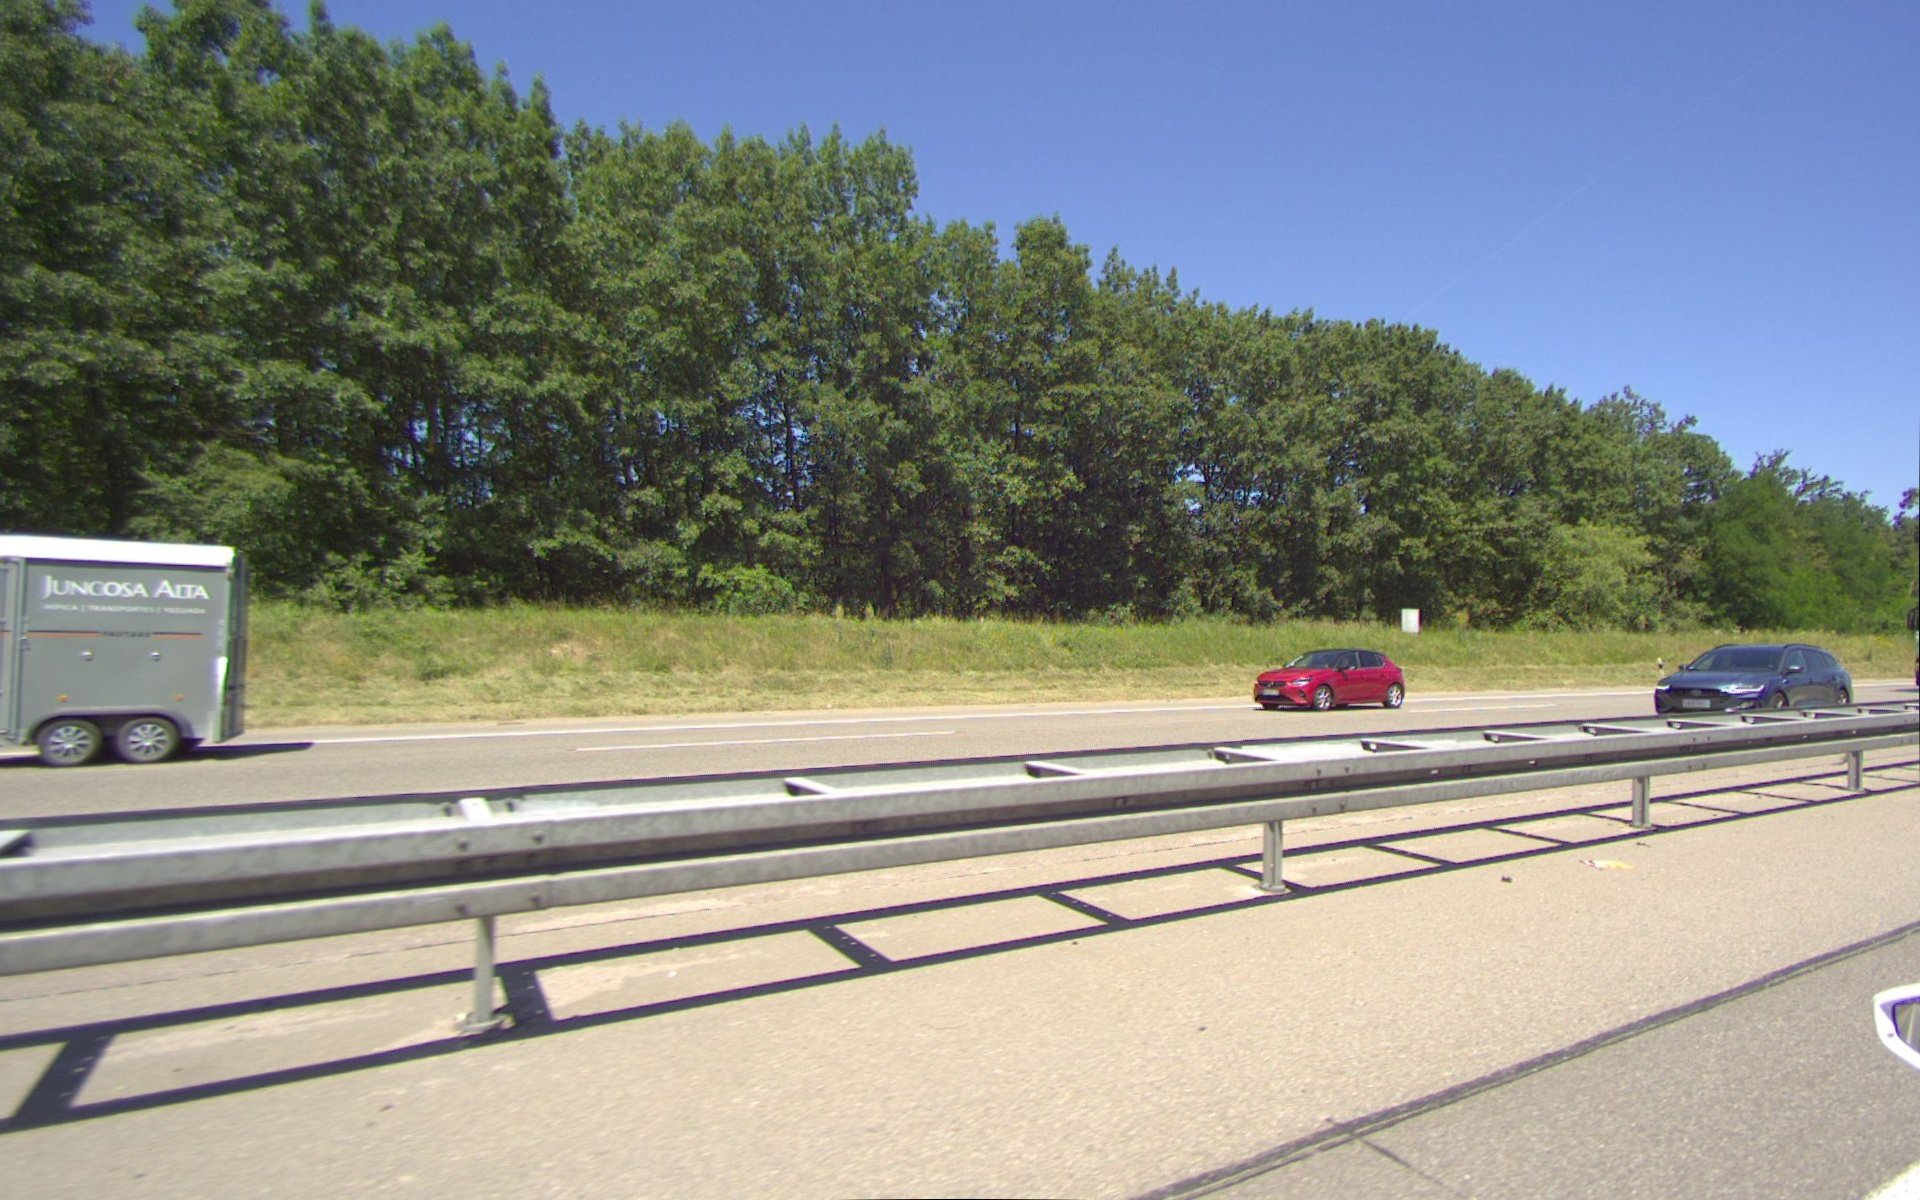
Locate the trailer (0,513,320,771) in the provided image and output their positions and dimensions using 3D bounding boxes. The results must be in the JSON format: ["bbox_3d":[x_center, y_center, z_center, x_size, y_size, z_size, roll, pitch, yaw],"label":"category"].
[{"bbox_3d":[-10.792,0.536,12.580,4.532,2.895,2.202,1,-3,-31],"label":"trailer"}]

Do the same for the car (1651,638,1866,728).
[{"bbox_3d":[14.912,1.476,18.701,4.571,1.501,1.609,2,-3,-31],"label":"car"}]

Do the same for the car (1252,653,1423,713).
[{"bbox_3d":[8.979,1.919,23.816,4.085,1.292,1.631,2,-3,-31],"label":"car"}]

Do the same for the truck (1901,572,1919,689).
[{"bbox_3d":[36.125,1.078,35.377,6.268,4.042,2.656,1,-3,-31],"label":"truck"}]
